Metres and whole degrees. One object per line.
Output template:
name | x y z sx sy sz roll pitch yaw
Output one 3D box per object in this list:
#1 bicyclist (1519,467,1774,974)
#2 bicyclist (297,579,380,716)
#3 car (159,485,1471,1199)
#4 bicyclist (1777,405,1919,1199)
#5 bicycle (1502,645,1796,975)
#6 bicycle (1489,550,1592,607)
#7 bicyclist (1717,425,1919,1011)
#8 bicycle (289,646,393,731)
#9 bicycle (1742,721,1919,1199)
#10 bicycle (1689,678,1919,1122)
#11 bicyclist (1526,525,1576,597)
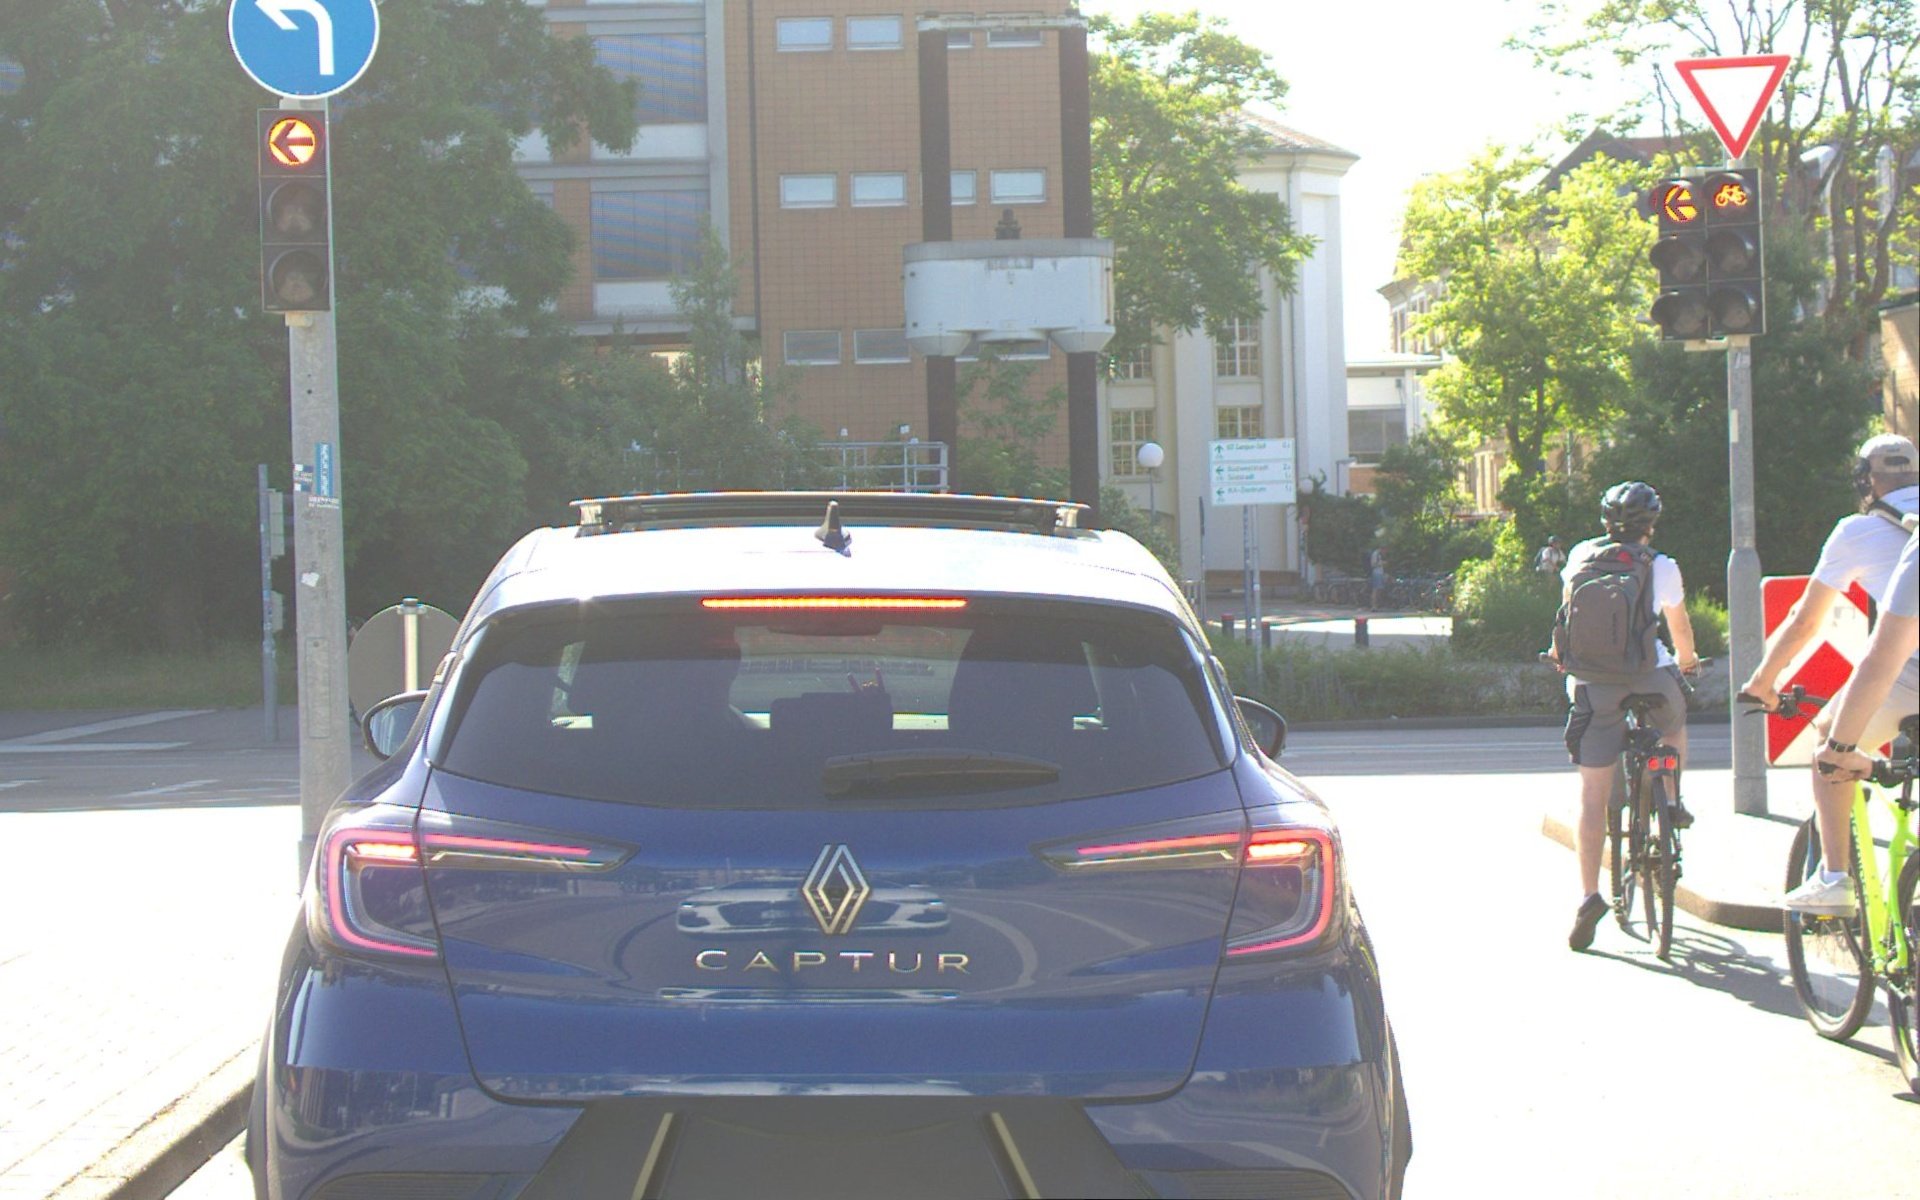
bicyclist | 2.508 0.417 12.659 0.699 1.785 1.142 0 1 -1
bicyclist | -7.911 0.599 43.799 0.755 1.710 0.998 -1 1 5
car | -0.275 0.609 6.653 1.788 1.580 3.915 0 1 -2
bicyclist | 2.224 0.501 7.321 0.683 1.785 1.142 0 1 -1
bicycle | 2.522 0.735 12.791 0.689 1.085 1.922 0 1 -1
bicycle | 11.962 -0.435 70.911 0.694 1.136 2.441 -2 1 -29
bicyclist | 2.649 0.313 9.891 0.678 1.589 1.142 0 1 -1
bicycle | -7.890 1.120 43.910 0.755 0.981 2.093 -1 1 5
bicycle | 2.230 0.846 7.277 0.689 1.085 1.922 0 1 -1
bicycle | 2.653 0.800 9.880 0.689 1.085 1.922 0 1 -1
bicyclist | 12.131 -0.800 70.587 0.694 1.476 0.717 -2 1 -29
